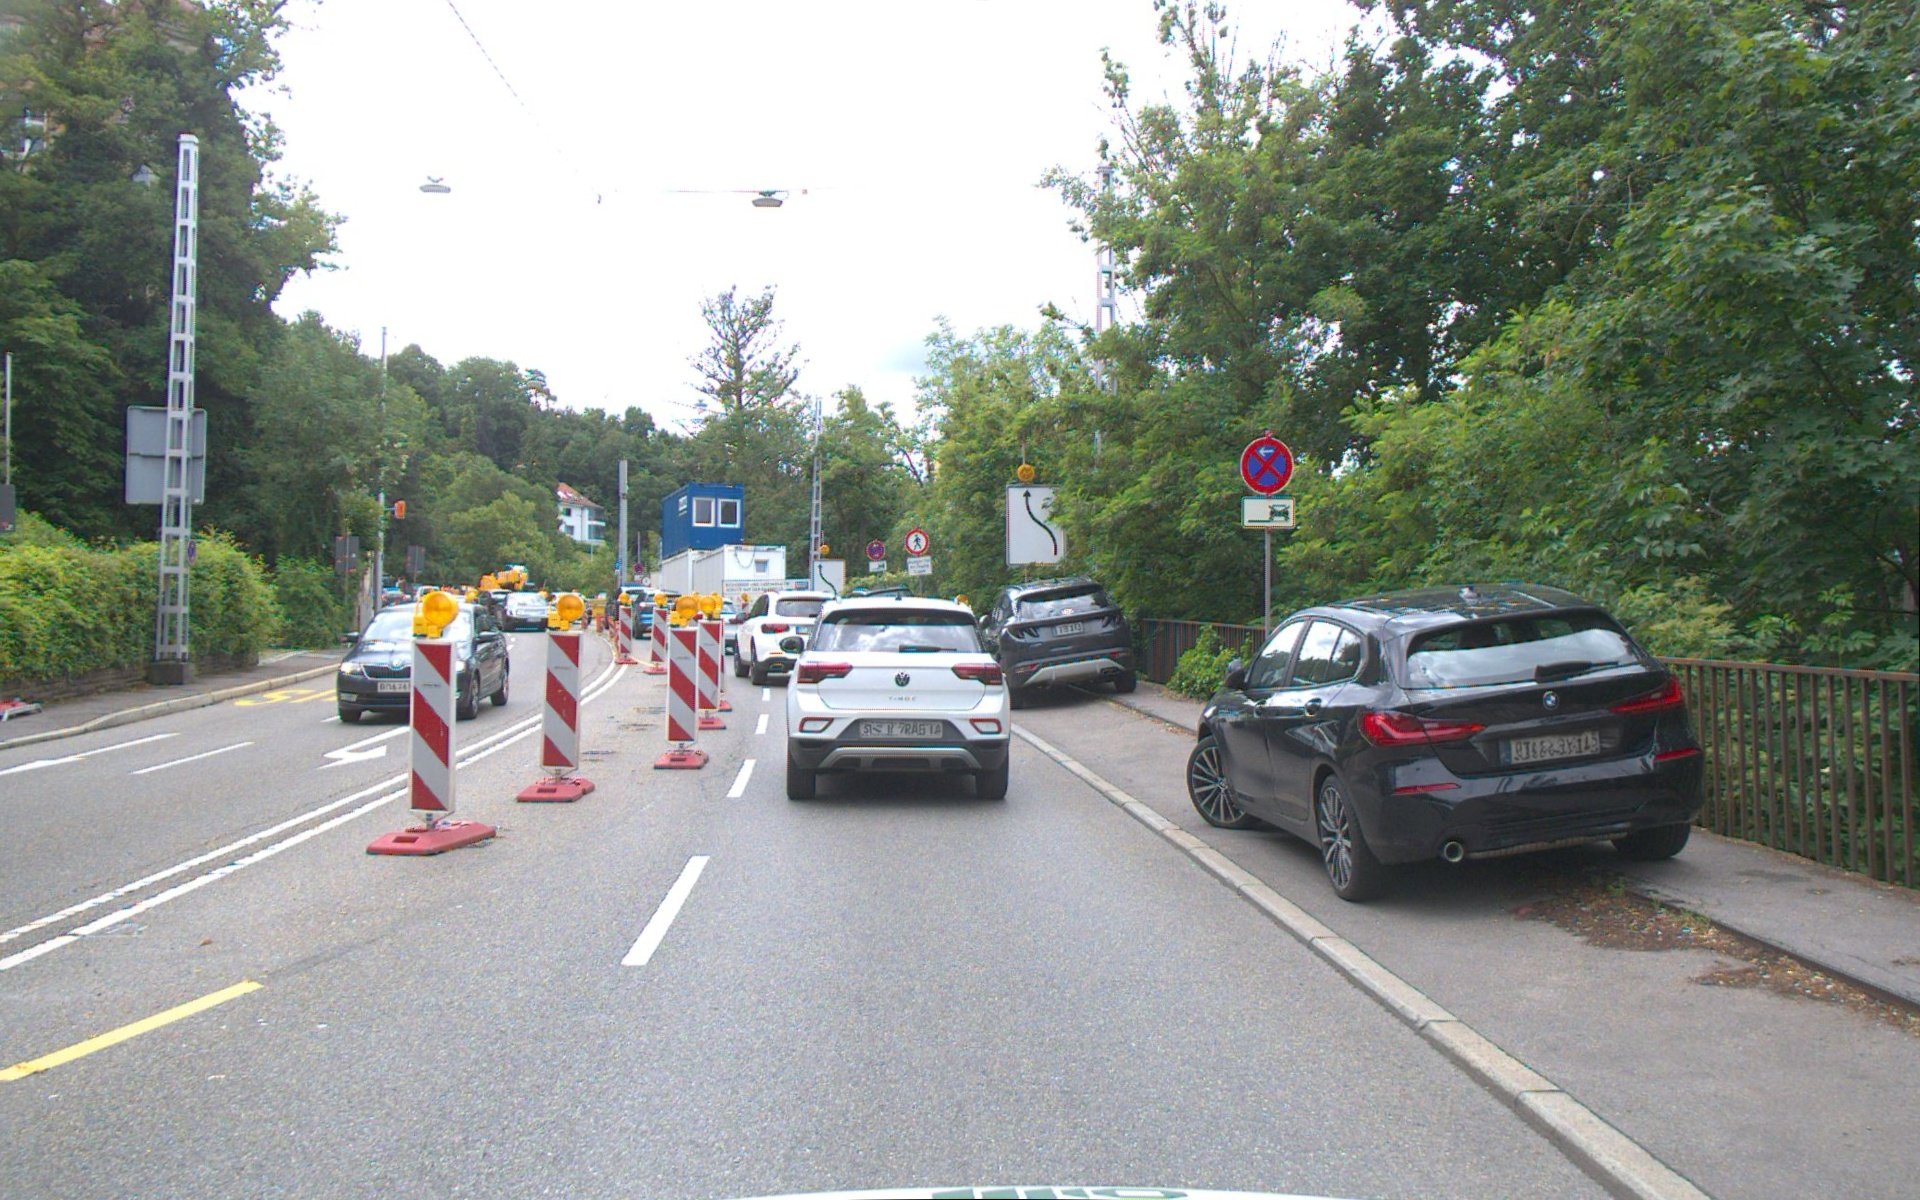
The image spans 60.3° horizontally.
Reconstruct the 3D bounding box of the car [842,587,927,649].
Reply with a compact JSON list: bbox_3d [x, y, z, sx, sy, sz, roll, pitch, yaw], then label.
[{"bbox_3d":[-2.144,0.484,45.841,1.686,1.544,3.648,-3,0,-13],"label":"car"}]

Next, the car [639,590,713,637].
[{"bbox_3d":[-9.404,0.462,54.597,1.961,1.439,4.132,-2,-1,-16],"label":"car"}]

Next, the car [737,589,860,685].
[{"bbox_3d":[-3.003,0.624,30.165,1.728,1.638,3.782,0,0,-14],"label":"car"}]

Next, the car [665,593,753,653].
[{"bbox_3d":[-6.704,0.576,43.917,1.731,1.497,3.775,0,0,-18],"label":"car"}]

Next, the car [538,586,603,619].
[{"bbox_3d":[-18.108,0.133,76.791,1.971,1.475,4.112,-1,-1,-28],"label":"car"}]

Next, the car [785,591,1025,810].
[{"bbox_3d":[-0.592,0.723,13.933,1.724,1.583,3.790,0,0,-7],"label":"car"}]

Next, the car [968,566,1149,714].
[{"bbox_3d":[1.321,0.515,23.878,1.815,1.684,4.137,-8,1,-5],"label":"car"}]

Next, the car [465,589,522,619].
[{"bbox_3d":[-24.618,0.219,87.278,1.972,1.475,4.109,-1,-1,-30],"label":"car"}]

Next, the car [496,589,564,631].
[{"bbox_3d":[-16.166,0.364,62.013,1.870,1.520,3.971,-1,0,-24],"label":"car"}]

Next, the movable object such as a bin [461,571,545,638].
[{"bbox_3d":[-27.091,0.268,97.786,3.489,3.764,7.431,-1,0,-26],"label":"movable object such as a bin"}]

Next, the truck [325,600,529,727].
[{"bbox_3d":[-6.911,0.764,21.841,1.629,1.468,4.023,-1,0,-4],"label":"truck"}]

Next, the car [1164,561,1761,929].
[{"bbox_3d":[2.570,0.646,9.639,1.773,1.488,4.189,-6,1,-5],"label":"car"}]

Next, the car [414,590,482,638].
[{"bbox_3d":[-16.176,0.420,52.389,1.864,1.406,3.983,-1,0,-15],"label":"car"}]
